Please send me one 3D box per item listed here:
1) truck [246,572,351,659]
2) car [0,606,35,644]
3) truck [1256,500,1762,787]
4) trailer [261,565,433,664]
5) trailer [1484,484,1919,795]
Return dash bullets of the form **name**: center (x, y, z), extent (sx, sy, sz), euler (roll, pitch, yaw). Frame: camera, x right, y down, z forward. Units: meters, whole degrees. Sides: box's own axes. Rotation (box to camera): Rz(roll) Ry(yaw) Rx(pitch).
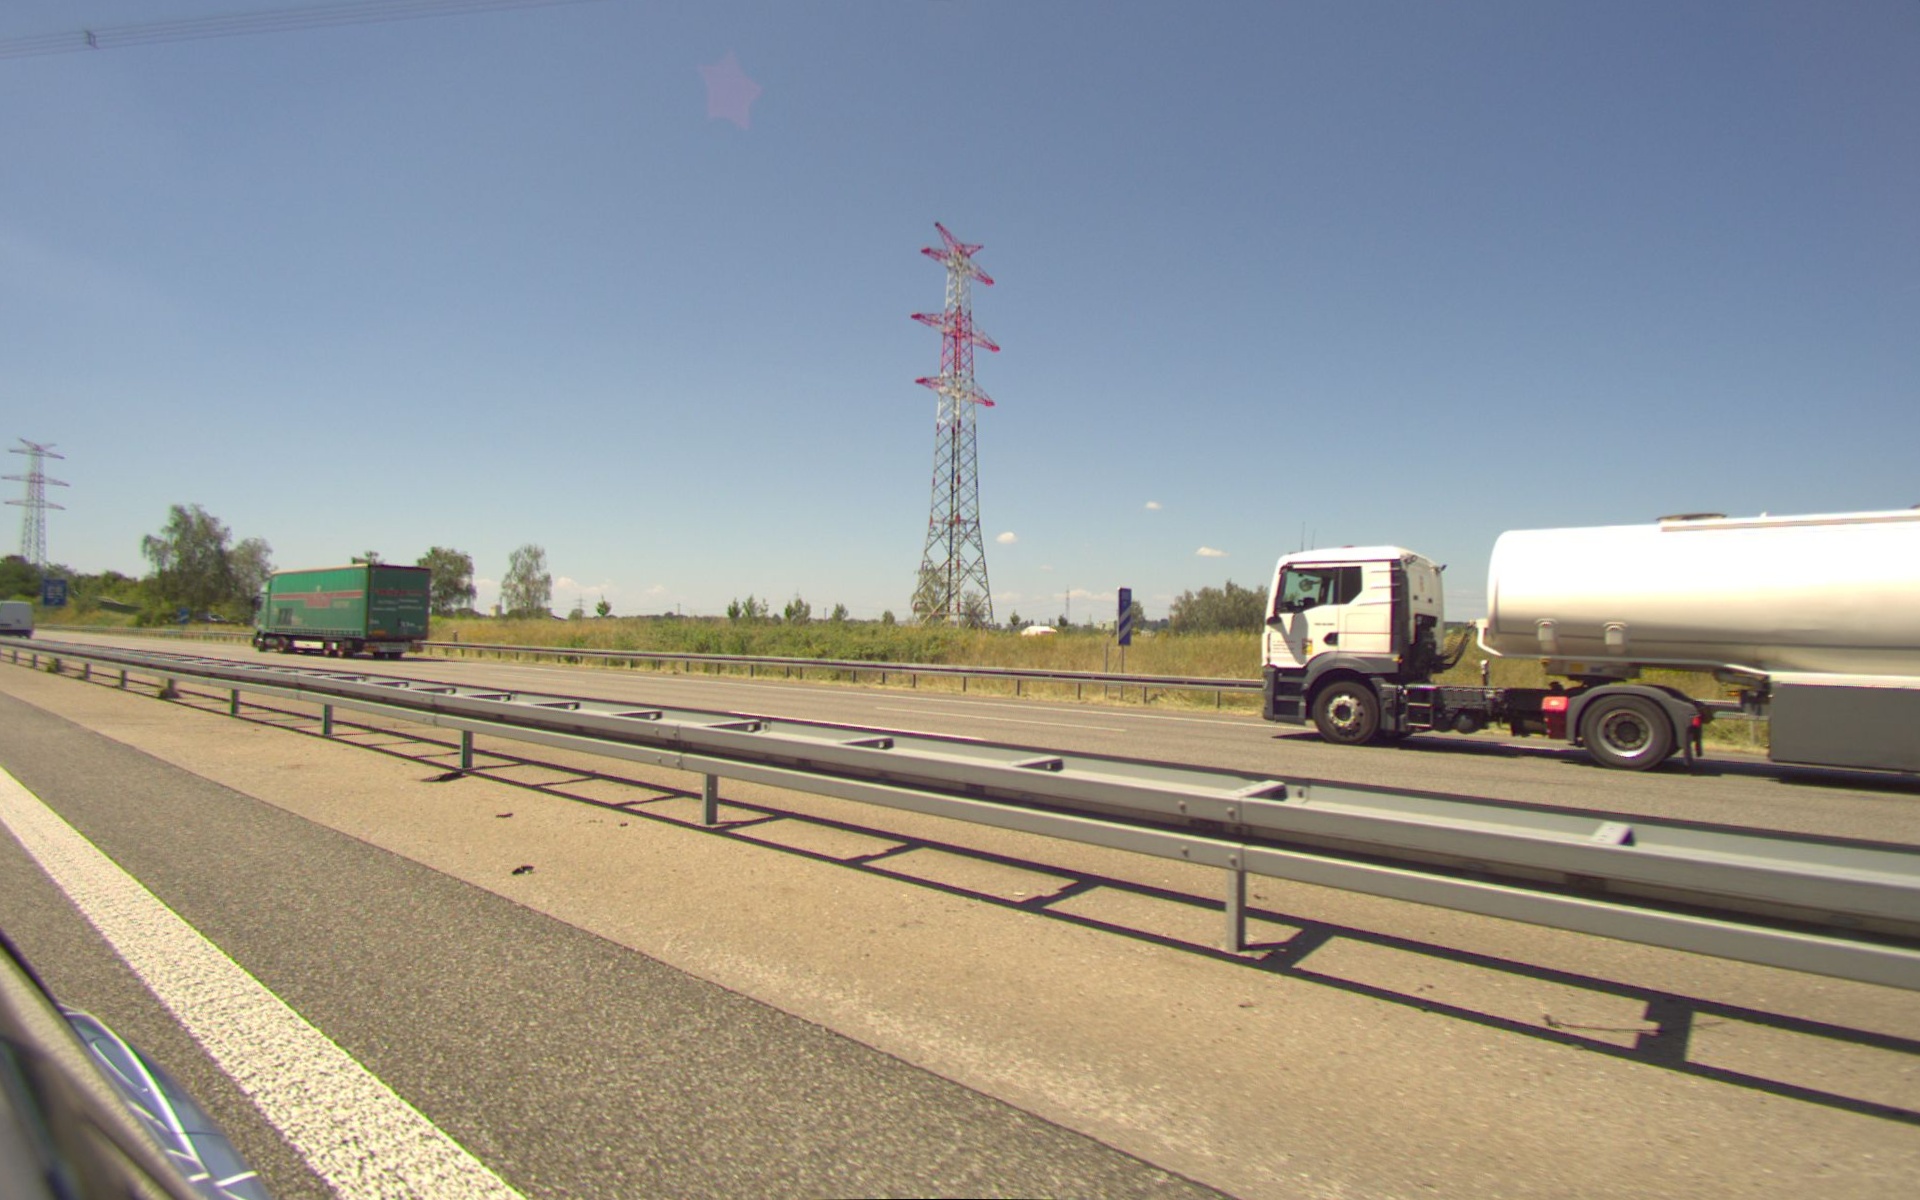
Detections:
- **truck**: center (-33.686, 0.821, 51.464), extent (6.577, 4.166, 2.671), euler (-1, -3, 41)
- **car**: center (-64.474, 1.689, 68.405), extent (6.065, 2.457, 2.026), euler (-1, -4, 40)
- **truck**: center (7.843, 0.591, 15.008), extent (6.208, 3.404, 2.456), euler (-1, -3, 41)
- **trailer**: center (-29.076, 0.723, 47.493), extent (13.907, 4.116, 2.641), euler (-1, -3, 41)
- **trailer**: center (12.335, 0.456, 11.014), extent (11.560, 3.398, 2.390), euler (-1, -3, 42)
